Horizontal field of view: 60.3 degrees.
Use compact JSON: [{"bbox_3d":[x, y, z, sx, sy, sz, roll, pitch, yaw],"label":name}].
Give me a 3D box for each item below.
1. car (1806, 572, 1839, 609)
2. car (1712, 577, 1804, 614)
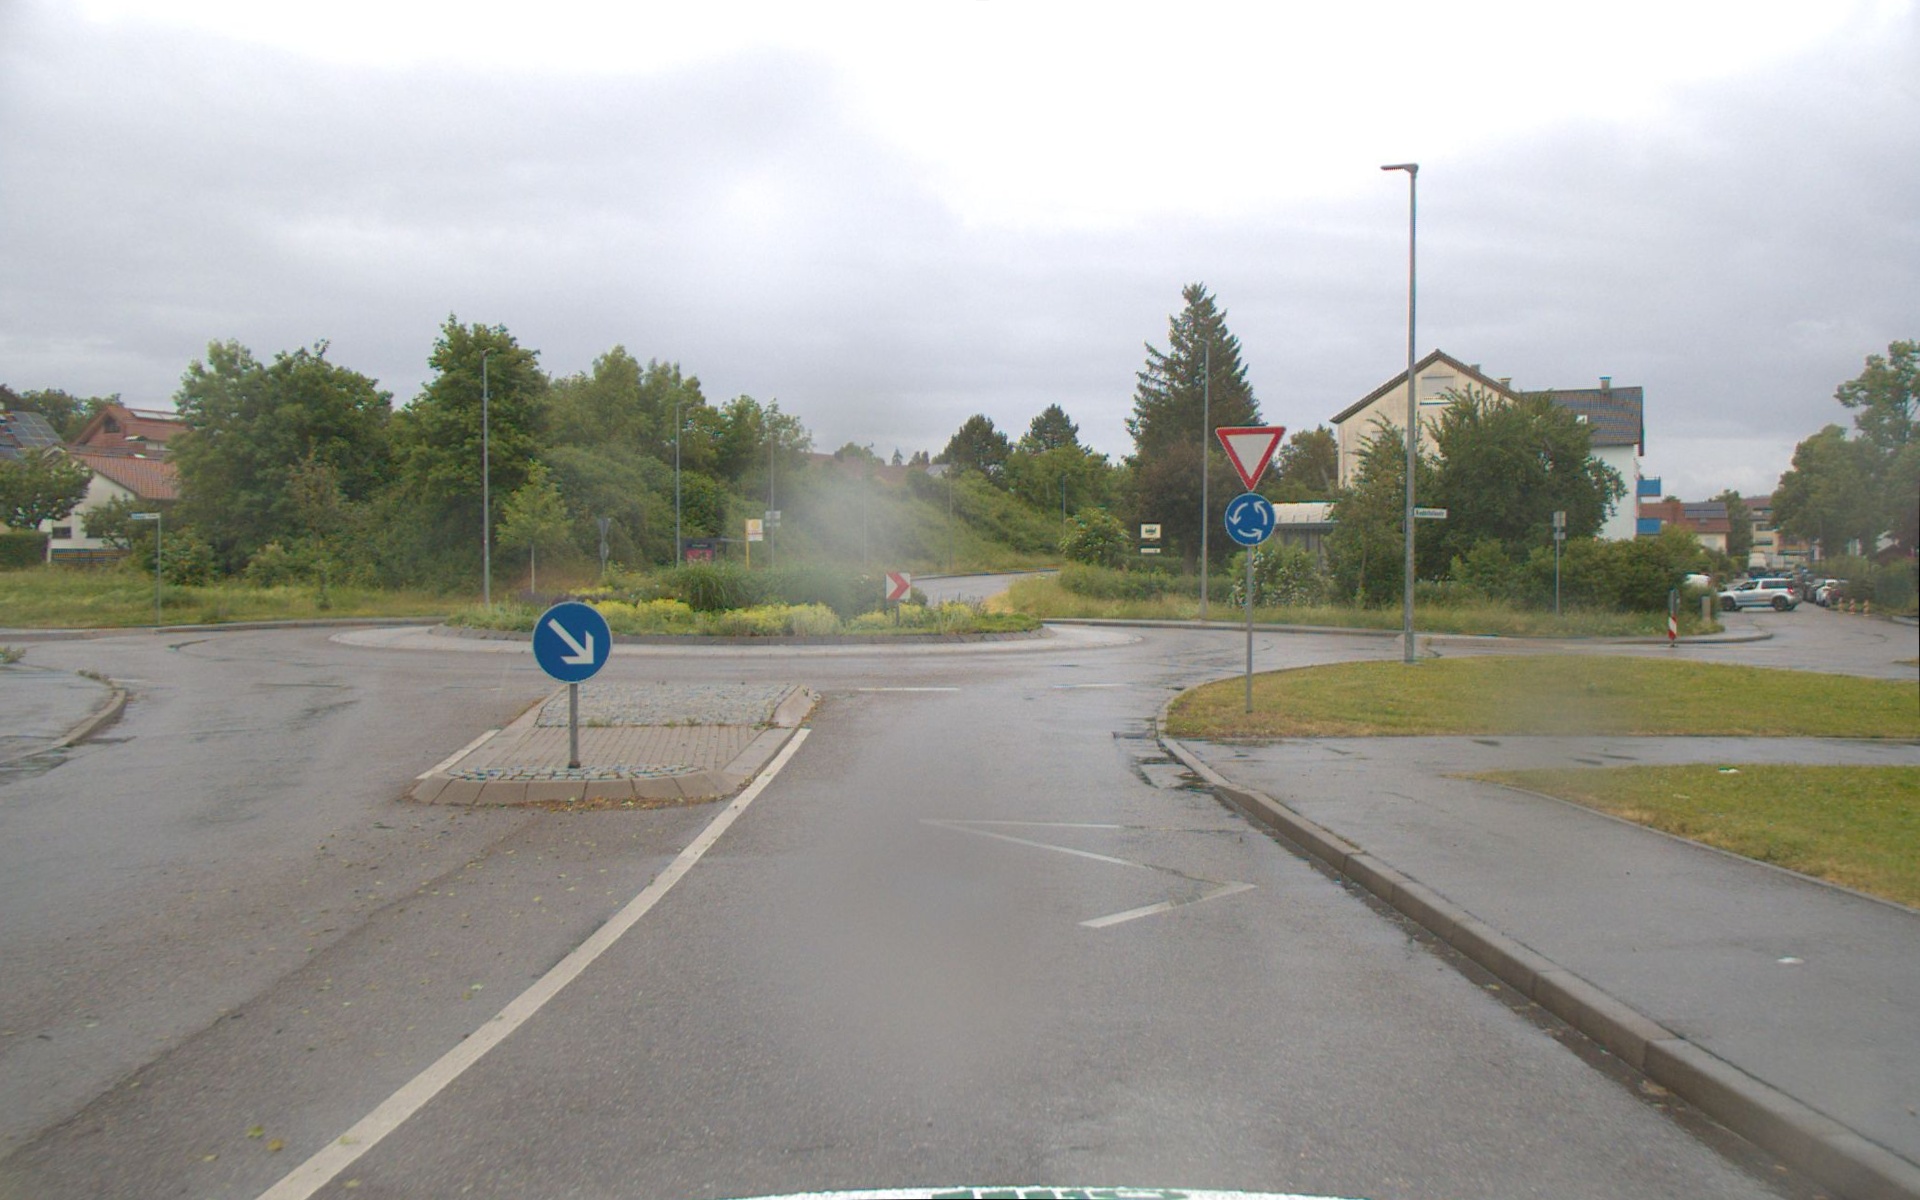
[{"bbox_3d":[48.710,-0.535,93.366,1.554,2.049,3.993,-1,0,29],"label":"car"},{"bbox_3d":[40.955,-0.207,84.927,3.925,1.859,1.887,0,0,40],"label":"car"}]
